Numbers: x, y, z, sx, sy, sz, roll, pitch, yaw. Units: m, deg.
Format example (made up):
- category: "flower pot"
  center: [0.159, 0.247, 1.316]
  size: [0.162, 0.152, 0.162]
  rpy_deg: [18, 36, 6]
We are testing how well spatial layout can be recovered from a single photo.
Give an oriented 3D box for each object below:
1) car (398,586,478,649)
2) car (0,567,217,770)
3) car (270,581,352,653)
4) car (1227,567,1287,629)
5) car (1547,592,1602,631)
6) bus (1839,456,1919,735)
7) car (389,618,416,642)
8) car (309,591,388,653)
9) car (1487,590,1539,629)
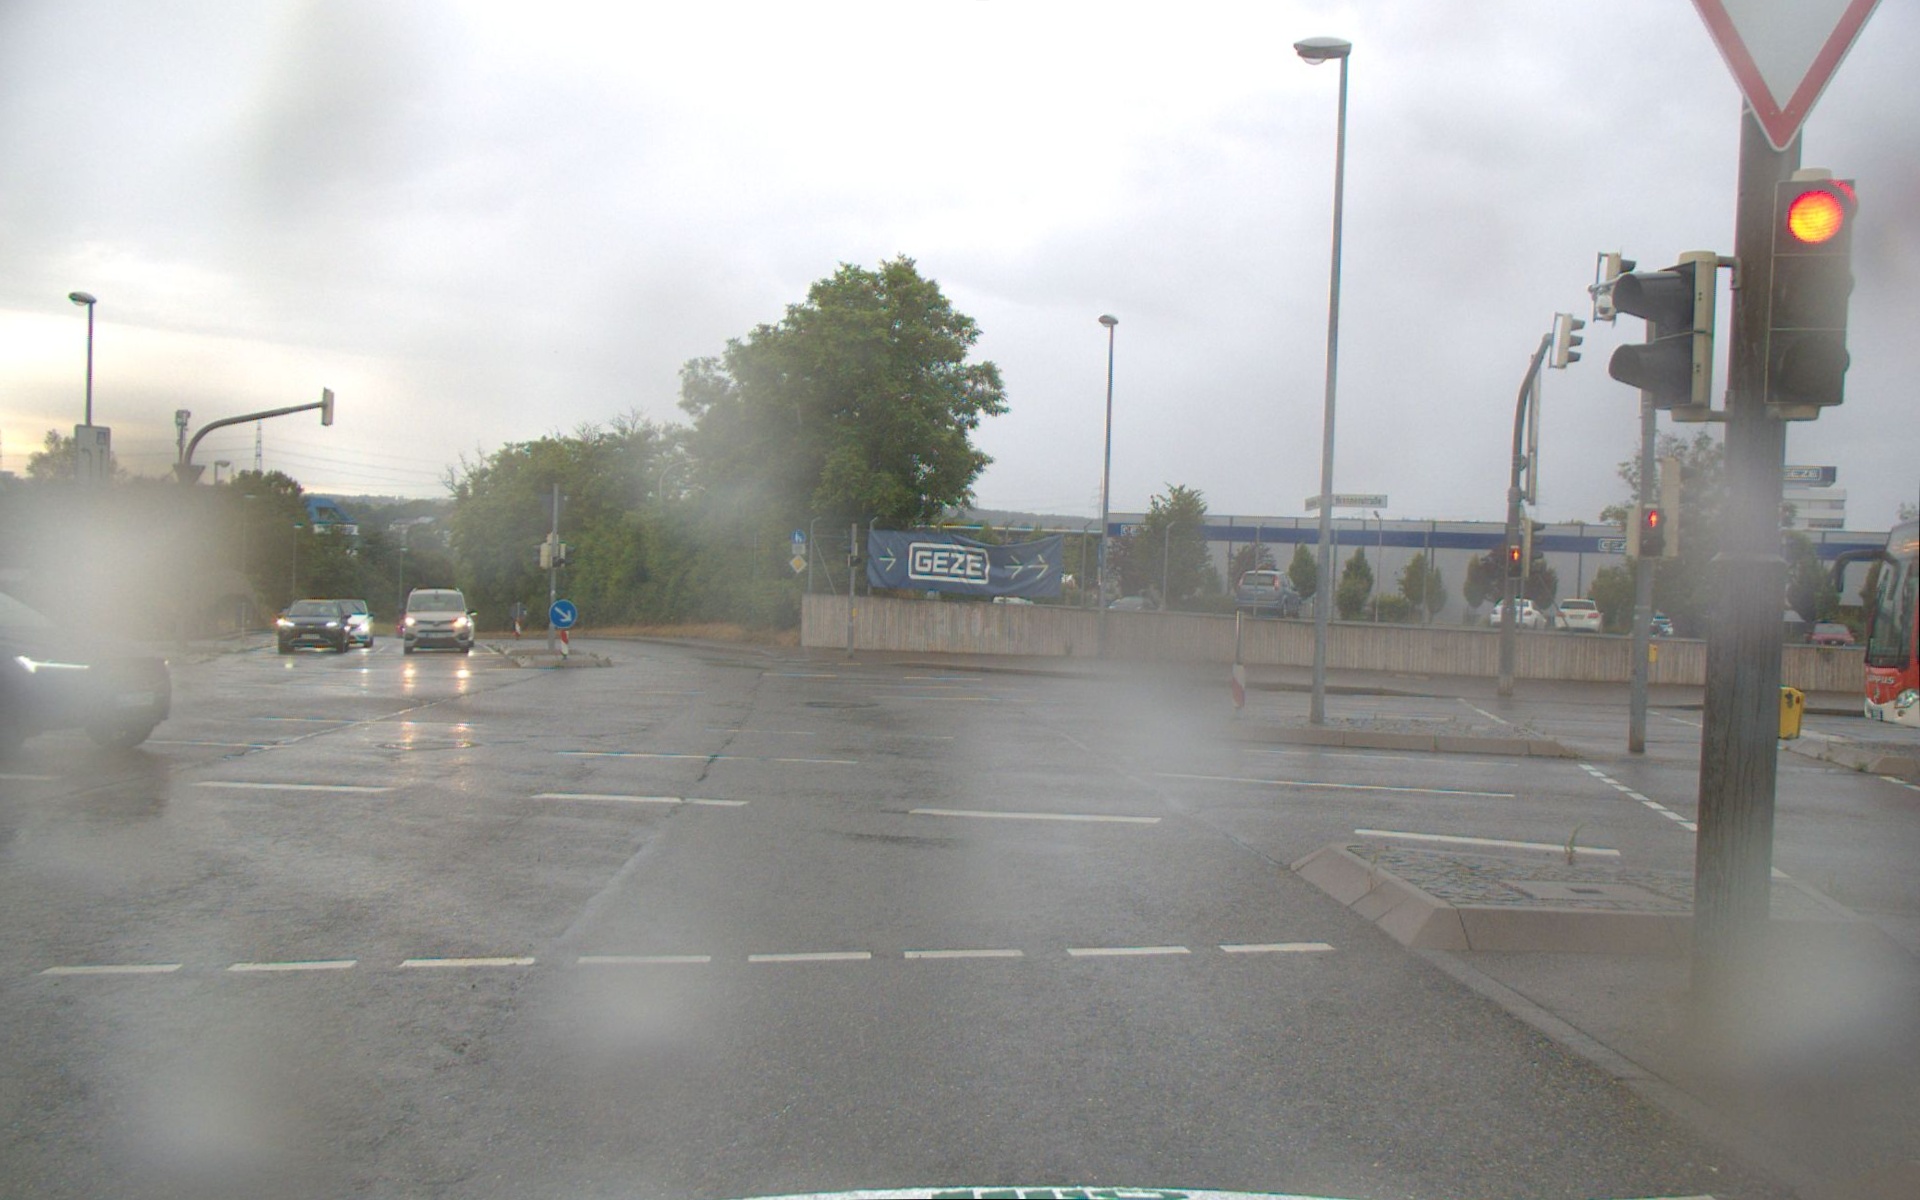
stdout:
- category: "car"
  center: [-14.912, 0.468, 47.408]
  size: [1.961, 1.646, 3.984]
  rpy_deg: [1, 1, -15]
- category: "car"
  center: [-9.716, 0.551, 15.830]
  size: [4.519, 1.708, 2.036]
  rpy_deg: [1, 1, 16]
- category: "car"
  center: [-18.746, 0.461, 47.907]
  size: [1.963, 1.928, 3.979]
  rpy_deg: [1, 0, -19]
- category: "car"
  center: [10.392, -0.066, 57.847]
  size: [1.951, 2.049, 4.003]
  rpy_deg: [1, 0, 11]
- category: "car"
  center: [25.255, 0.451, 68.063]
  size: [1.952, 1.504, 4.001]
  rpy_deg: [2, 1, 19]
- category: "bus"
  center: [17.634, 0.208, 19.849]
  size: [12.020, 3.379, 3.076]
  rpy_deg: [3, 1, 17]
- category: "car"
  center: [-41.612, 2.228, 123.436]
  size: [1.593, 1.474, 3.781]
  rpy_deg: [2, 1, -23]
- category: "car"
  center: [-20.330, 0.701, 55.121]
  size: [1.959, 1.928, 3.986]
  rpy_deg: [1, 0, -13]
- category: "car"
  center: [22.959, 0.383, 68.652]
  size: [1.952, 1.504, 4.001]
  rpy_deg: [2, 1, 19]
